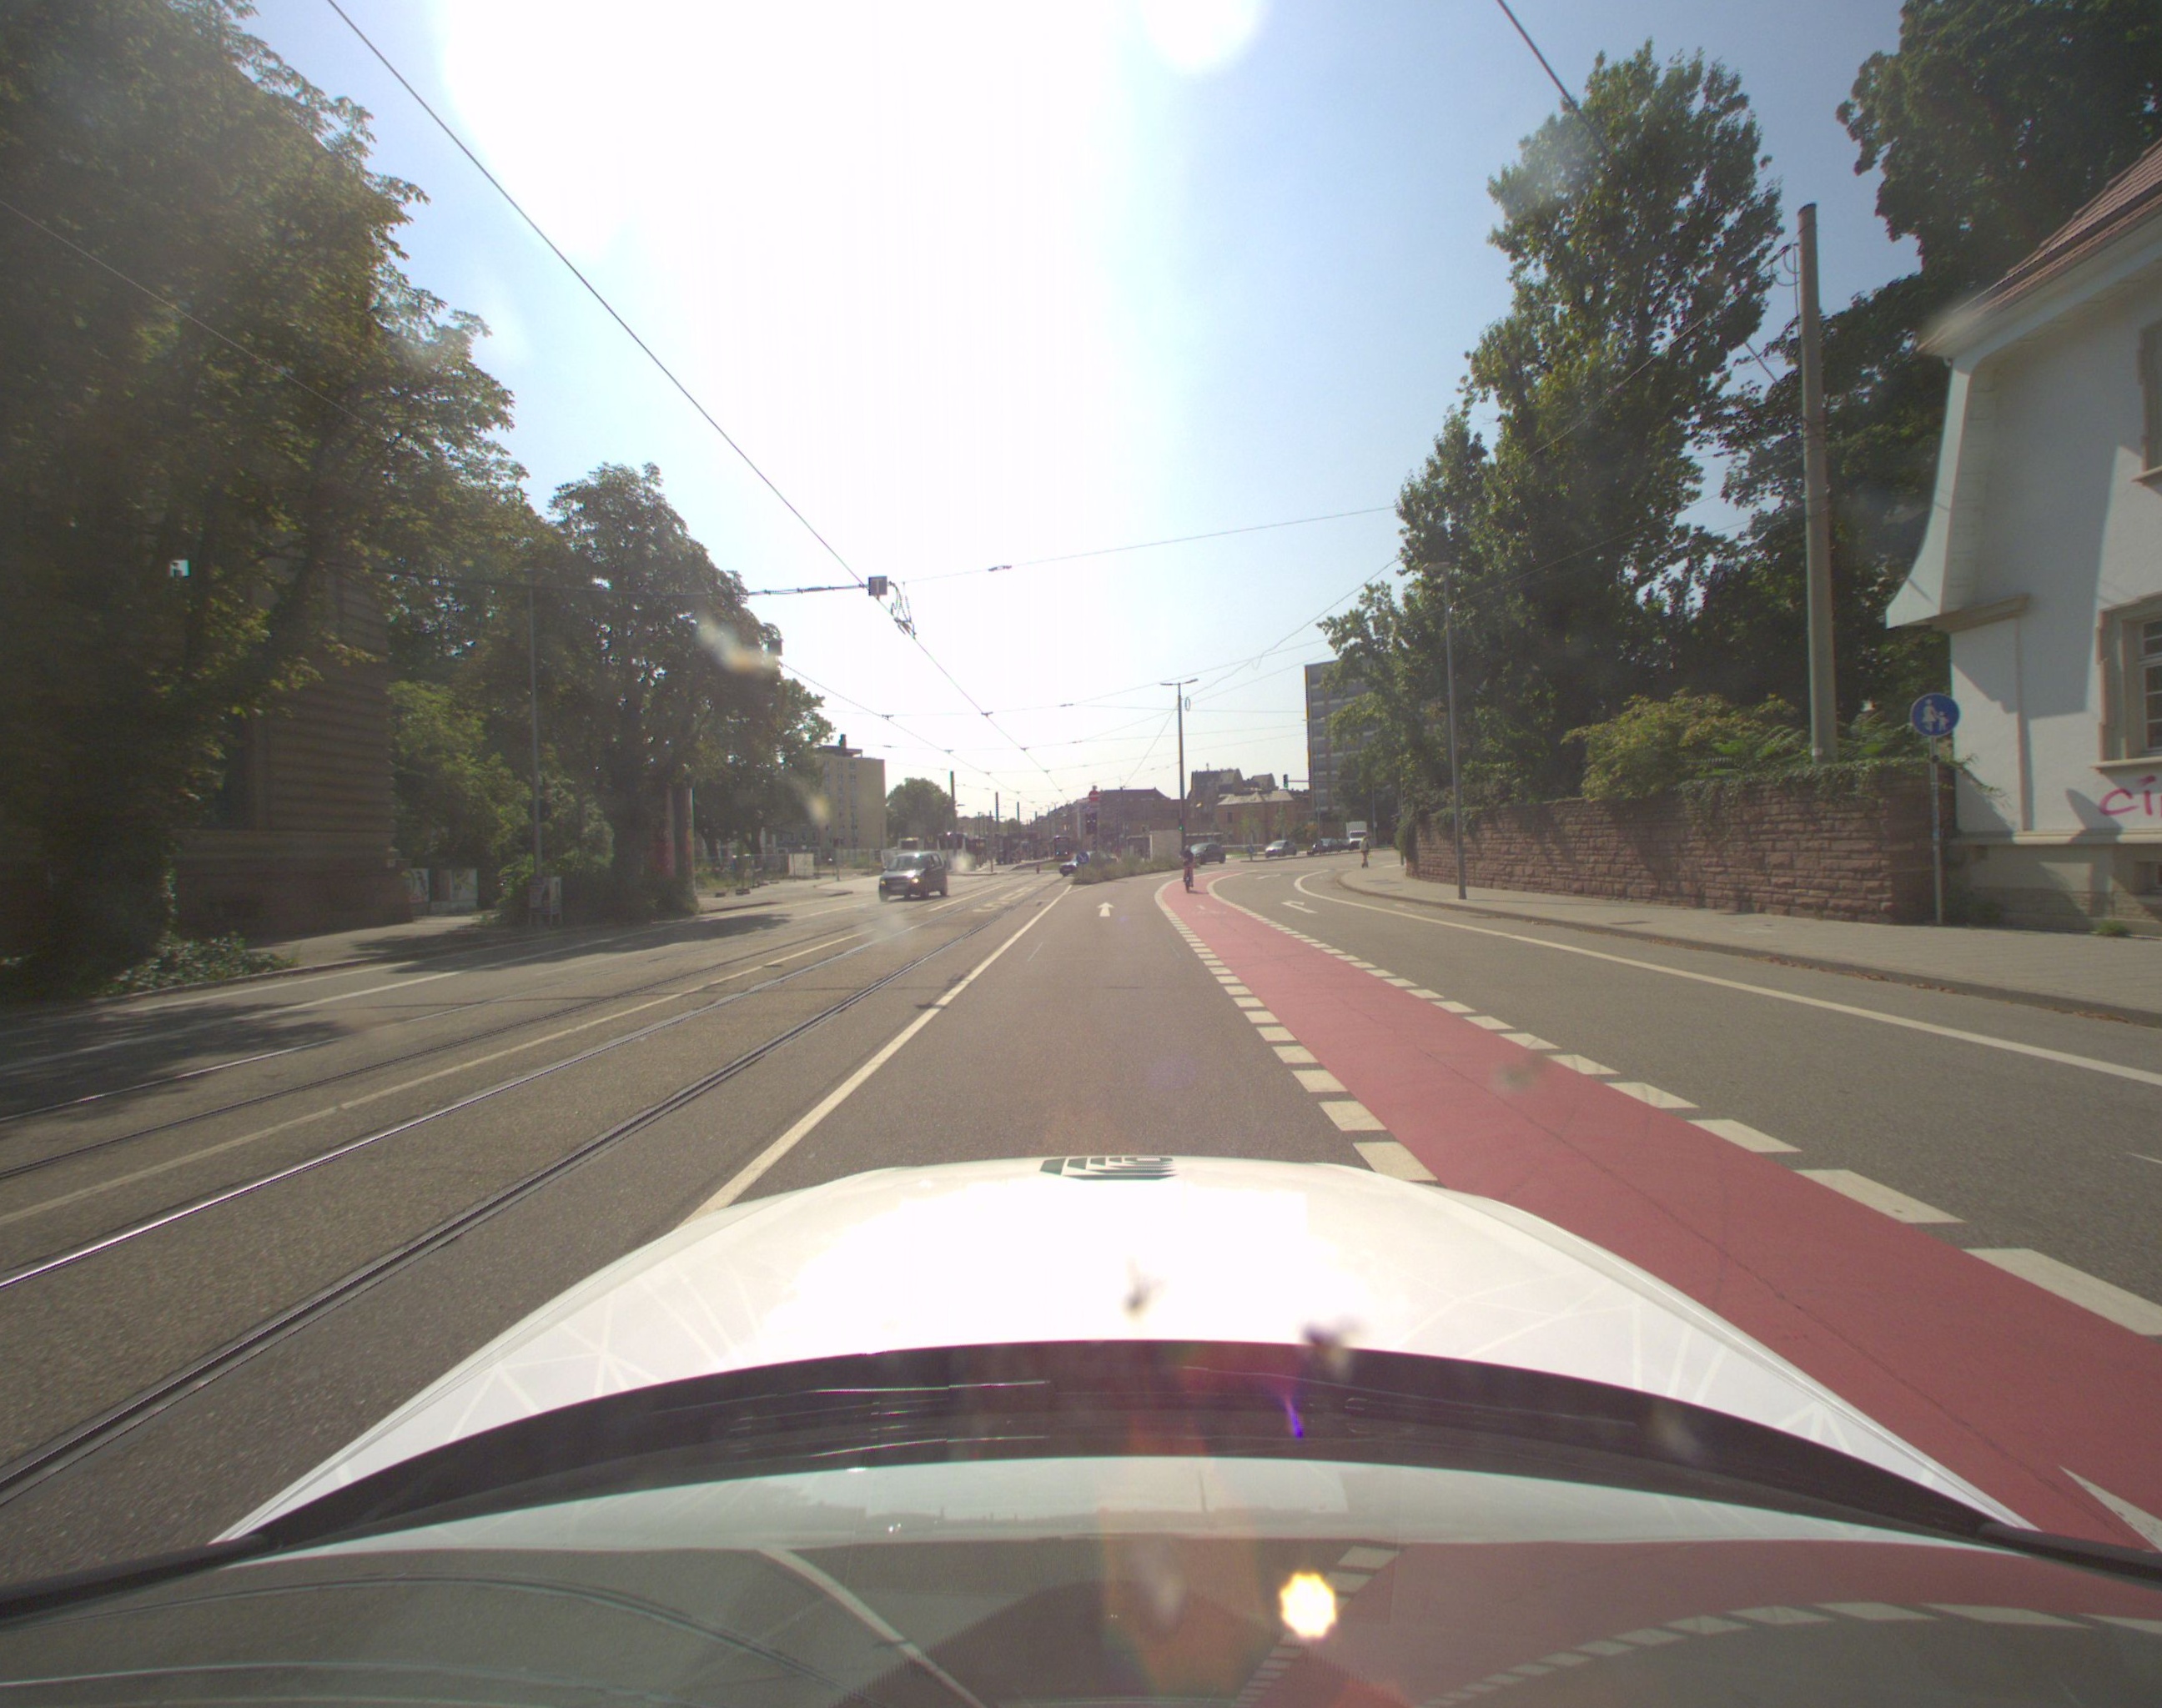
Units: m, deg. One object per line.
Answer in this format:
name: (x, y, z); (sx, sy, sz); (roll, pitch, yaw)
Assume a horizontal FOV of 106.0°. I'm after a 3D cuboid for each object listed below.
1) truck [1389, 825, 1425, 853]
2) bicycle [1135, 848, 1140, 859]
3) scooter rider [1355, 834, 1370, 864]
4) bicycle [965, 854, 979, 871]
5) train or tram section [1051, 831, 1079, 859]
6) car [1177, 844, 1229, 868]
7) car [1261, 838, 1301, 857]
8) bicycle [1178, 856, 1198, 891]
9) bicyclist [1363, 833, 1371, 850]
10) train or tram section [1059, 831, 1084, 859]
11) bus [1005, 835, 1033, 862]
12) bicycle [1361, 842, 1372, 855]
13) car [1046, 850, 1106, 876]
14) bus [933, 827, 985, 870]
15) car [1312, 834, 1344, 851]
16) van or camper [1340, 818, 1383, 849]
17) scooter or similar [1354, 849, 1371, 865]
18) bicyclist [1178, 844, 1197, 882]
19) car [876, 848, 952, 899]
truck: (35.556, -1.631, 88.694); (2.670, 2.989, 6.004); (-1, 0, 32)
bicycle: (5.679, -0.053, 81.885); (0.462, 1.032, 1.550); (-1, 0, 4)
scooter rider: (17.162, -0.318, 49.671); (0.755, 1.775, 0.558); (-2, 0, 27)
bicycle: (-8.564, 0.666, 64.077); (0.604, 1.222, 1.708); (-2, 0, 6)
train or tram section: (-2.095, -1.214, 114.090); (2.845, 3.548, 17.751); (-1, 0, 2)
car: (9.249, 0.115, 61.403); (1.754, 1.610, 4.704); (-2, 1, 38)
car: (17.782, -0.572, 72.225); (1.634, 1.530, 4.353); (-2, 1, 40)
bicycle: (3.855, 0.693, 29.376); (0.600, 1.163, 1.815); (-2, 1, 10)
bicyclist: (24.105, -1.034, 68.684); (0.445, 1.421, 0.499); (-2, 0, 36)
train or tram section: (-1.335, -1.428, 132.529); (2.874, 4.067, 19.155); (-1, 0, 3)
bus: (-9.330, -0.849, 122.963); (2.698, 3.726, 10.429); (-1, 0, 4)
bicycle: (24.040, -0.470, 68.557); (0.440, 1.116, 1.455); (-2, 0, 36)
car: (-0.239, 0.513, 49.333); (1.672, 1.378, 4.646); (-2, 1, 26)
bus: (-11.442, -0.544, 77.464); (2.947, 3.774, 10.600); (-1, 0, 2)
car: (24.711, -1.183, 81.354); (1.680, 1.530, 4.210); (-2, 1, 37)
van or camper: (31.610, -2.323, 91.738); (2.376, 3.306, 7.237); (-2, 0, 37)
scooter or similar: (17.129, 0.155, 49.584); (0.765, 0.926, 1.630); (-1, 1, 26)
bicyclist: (3.850, 0.307, 29.436); (0.599, 1.335, 0.661); (-2, 0, 9)
car: (-5.855, 0.644, 28.888); (1.683, 1.655, 3.585); (-1, 0, 4)
